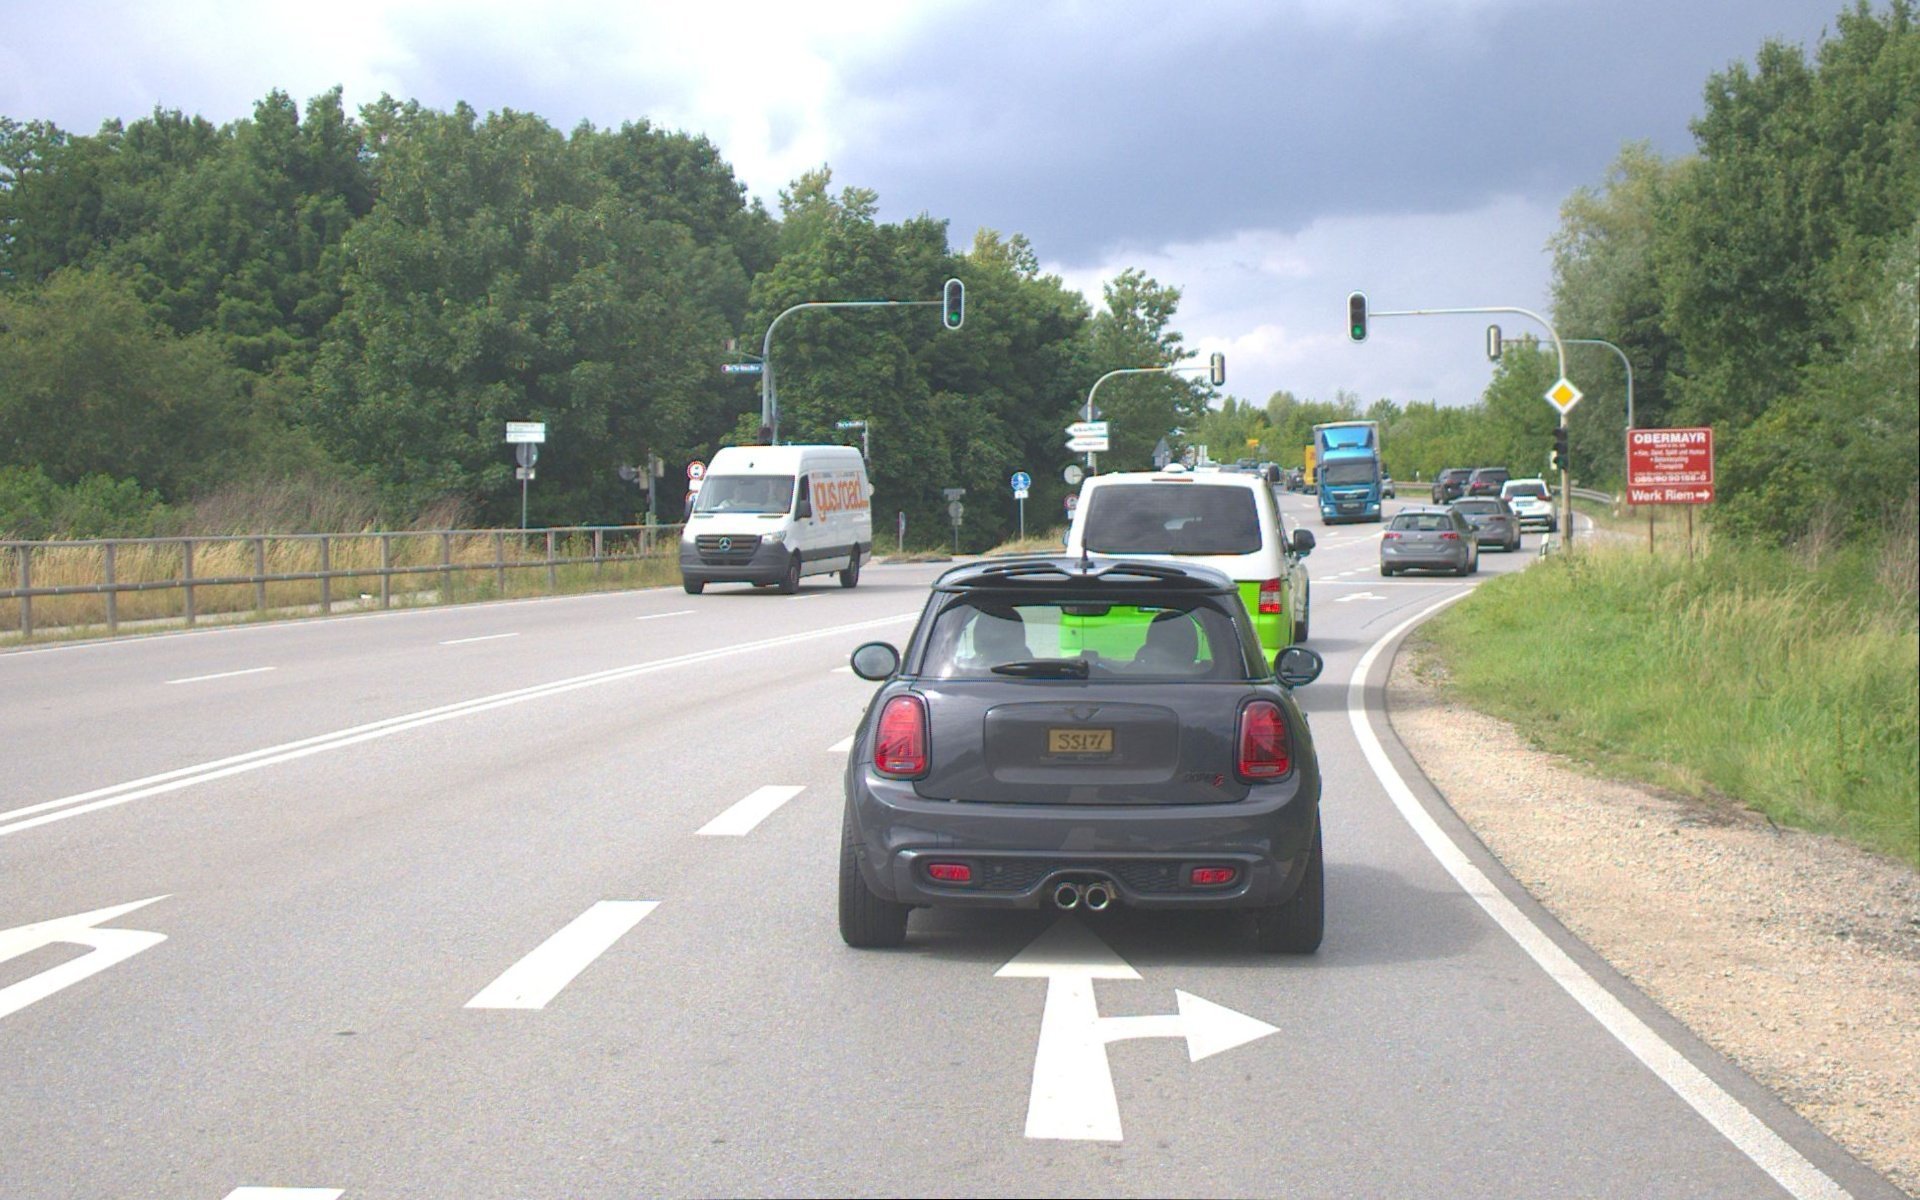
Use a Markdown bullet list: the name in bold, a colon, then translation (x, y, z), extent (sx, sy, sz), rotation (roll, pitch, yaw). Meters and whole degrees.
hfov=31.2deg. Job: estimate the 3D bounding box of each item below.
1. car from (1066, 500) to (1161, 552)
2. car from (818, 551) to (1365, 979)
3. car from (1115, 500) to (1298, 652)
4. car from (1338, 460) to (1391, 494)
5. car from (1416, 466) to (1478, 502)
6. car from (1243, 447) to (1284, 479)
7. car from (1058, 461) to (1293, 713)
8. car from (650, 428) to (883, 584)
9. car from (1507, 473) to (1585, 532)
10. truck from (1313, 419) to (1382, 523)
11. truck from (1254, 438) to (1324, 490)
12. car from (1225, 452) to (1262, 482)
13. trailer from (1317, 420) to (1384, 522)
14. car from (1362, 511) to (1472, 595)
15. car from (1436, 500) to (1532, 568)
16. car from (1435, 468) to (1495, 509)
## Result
- **car**: translation (4.317, -2.082, 96.133), extent (1.947, 1.436, 3.998), rotation (0, 1, 13)
- **car**: translation (0.476, 0.533, 13.626), extent (1.845, 1.423, 3.841), rotation (1, 1, 1)
- **car**: translation (2.925, -0.287, 40.060), extent (1.994, 1.678, 3.999), rotation (0, 1, 6)
- **car**: translation (21.512, -6.544, 182.950), extent (1.993, 1.781, 4.487), rotation (-1, 2, -4)
- **car**: translation (22.925, -5.442, 161.891), extent (1.993, 1.690, 4.486), rotation (0, 2, -4)
- **car**: translation (20.553, -9.307, 233.203), extent (2.180, 2.007, 4.000), rotation (1, 0, -3)
- **car**: translation (1.859, -0.161, 29.222), extent (1.845, 1.980, 3.841), rotation (1, 2, 5)
- **car**: translation (-3.413, -1.689, 62.461), extent (2.435, 2.665, 6.884), rotation (1, 1, 12)
- **car**: translation (18.317, -3.039, 107.375), extent (1.995, 1.678, 3.997), rotation (1, 0, 15)
- **truck**: translation (15.479, -5.135, 137.181), extent (2.541, 4.082, 3.999), rotation (0, 2, 9)
- **truck**: translation (19.913, -8.226, 208.403), extent (2.716, 2.888, 8.772), rotation (0, 1, -5)
- **car**: translation (20.848, -9.749, 252.719), extent (1.993, 2.007, 4.001), rotation (1, 0, -6)
- **trailer**: translation (16.023, -5.246, 140.773), extent (2.528, 4.086, 6.733), rotation (0, 2, 8)
- **car**: translation (9.730, -0.983, 73.029), extent (1.994, 1.678, 3.998), rotation (1, 0, 12)
- **car**: translation (13.864, -1.716, 90.789), extent (1.995, 1.678, 3.974), rotation (1, 0, 16)
- **car**: translation (21.275, -4.686, 145.085), extent (1.993, 1.690, 4.486), rotation (0, 2, 2)
